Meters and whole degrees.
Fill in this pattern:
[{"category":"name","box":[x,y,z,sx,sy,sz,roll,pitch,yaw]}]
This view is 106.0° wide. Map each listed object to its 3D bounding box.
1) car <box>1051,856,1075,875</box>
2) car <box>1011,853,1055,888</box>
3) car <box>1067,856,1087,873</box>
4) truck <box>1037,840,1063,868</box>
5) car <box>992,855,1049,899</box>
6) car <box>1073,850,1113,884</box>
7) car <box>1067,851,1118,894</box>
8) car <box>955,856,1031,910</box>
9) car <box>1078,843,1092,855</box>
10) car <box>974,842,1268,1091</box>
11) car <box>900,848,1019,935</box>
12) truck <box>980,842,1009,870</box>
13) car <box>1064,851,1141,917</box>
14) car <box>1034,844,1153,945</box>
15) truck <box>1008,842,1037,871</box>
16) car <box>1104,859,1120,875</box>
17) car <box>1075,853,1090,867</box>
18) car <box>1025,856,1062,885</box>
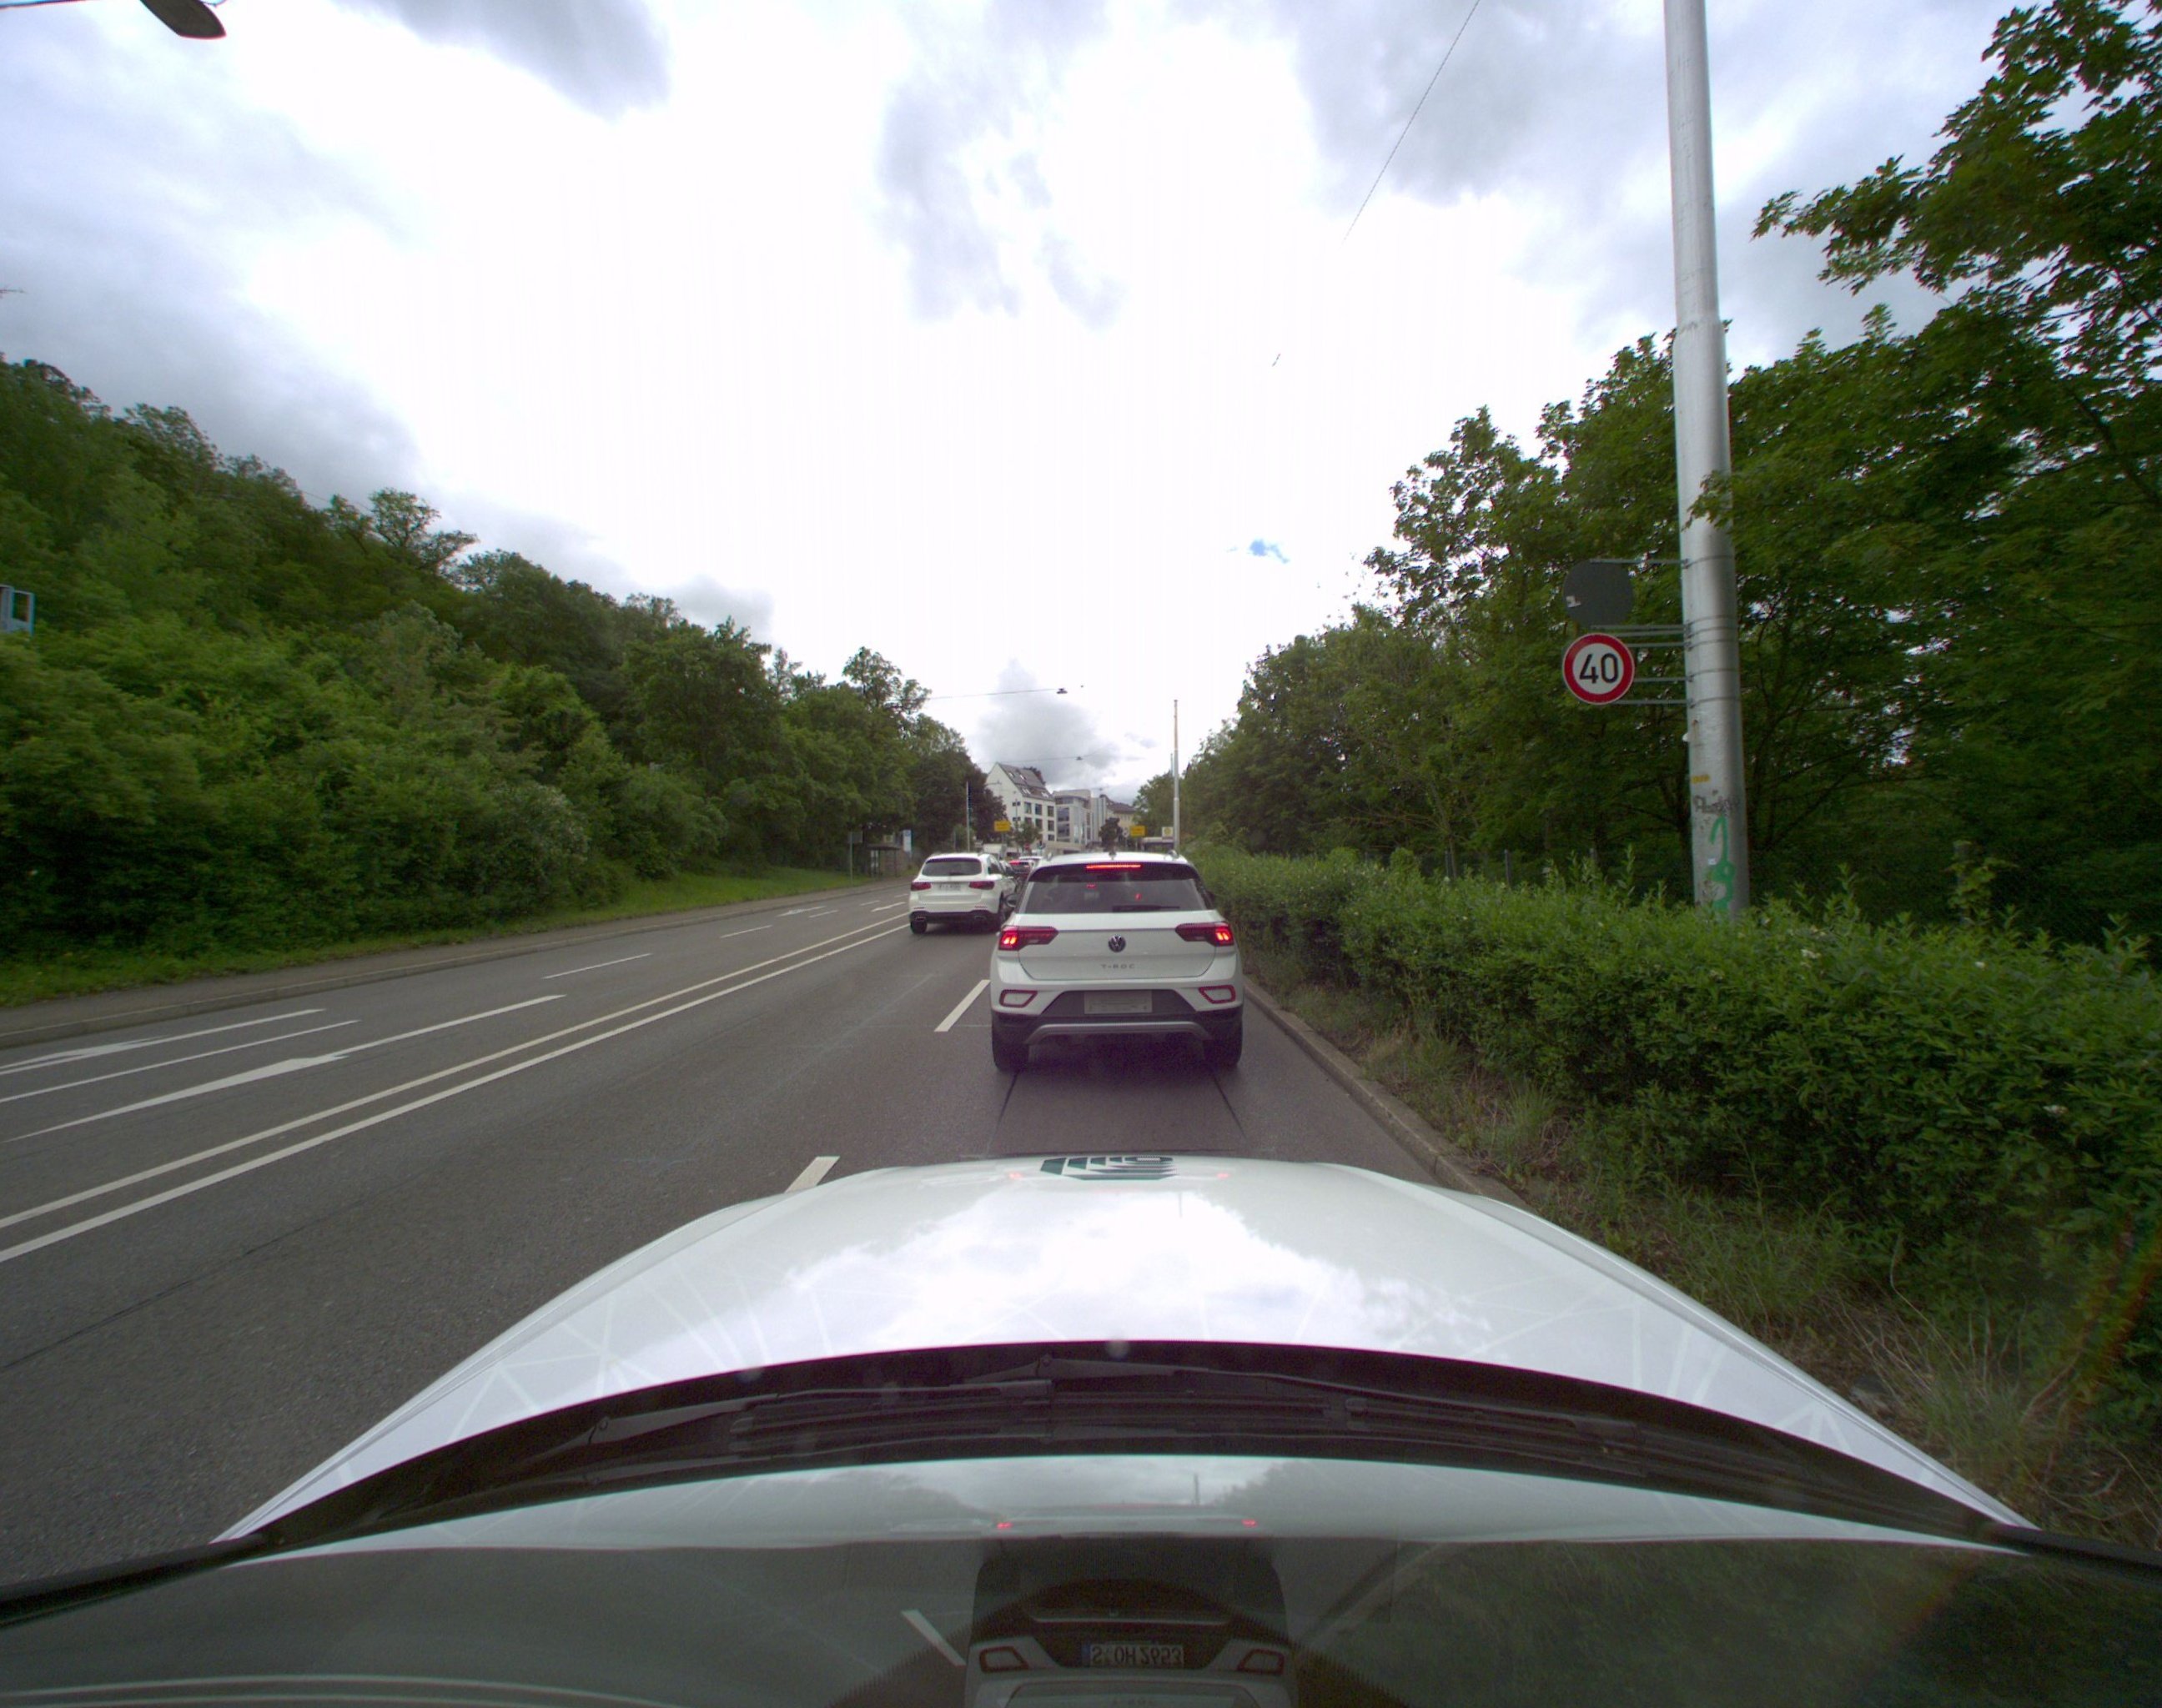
[{"category":"car","box":[-1.486,0.936,68.595,1.823,1.526,4.001,-2,0,1]},{"category":"car","box":[-2.305,0.775,39.950,1.823,1.526,4.001,-2,0,1]},{"category":"car","box":[-0.403,1.002,79.750,1.823,1.526,4.001,-2,0,1]},{"category":"truck","box":[-3.186,-0.028,85.745,2.354,2.782,4.478,-3,0,1]},{"category":"car","box":[-2.296,0.848,31.884,1.823,1.526,4.001,-2,0,1]},{"category":"car","box":[0.587,0.599,40.046,1.823,1.526,4.001,-2,0,1]},{"category":"car","box":[0.467,0.679,31.775,1.823,1.526,4.001,-2,0,1]},{"category":"car","box":[-2.643,0.837,25.368,1.823,1.497,4.001,-2,0,1]},{"category":"car","box":[0.576,-0.690,117.225,1.823,1.526,4.001,-2,0,1]},{"category":"car","box":[0.288,0.716,7.158,1.823,1.526,4.001,-2,0,1]},{"category":"car","box":[-2.505,0.735,17.784,1.911,1.669,4.001,-1,0,1]},{"category":"truck","box":[-10.023,0.228,94.784,2.284,3.051,6.983,-3,-1,2]},{"category":"car","box":[0.551,0.735,21.902,1.823,1.526,4.001,-2,0,1]},{"category":"car","box":[0.234,0.646,14.871,1.823,1.526,4.001,-2,0,1]},{"category":"truck","box":[-5.810,0.259,81.213,2.354,2.706,4.478,-3,0,1]},{"category":"car","box":[4.083,1.736,107.174,1.986,2.014,4.002,-3,-2,2]},{"category":"car","box":[0.220,0.787,109.441,1.809,1.656,3.929,-3,0,1]},{"category":"car","box":[-2.120,0.912,47.050,1.823,1.526,4.001,-2,0,1]}]
